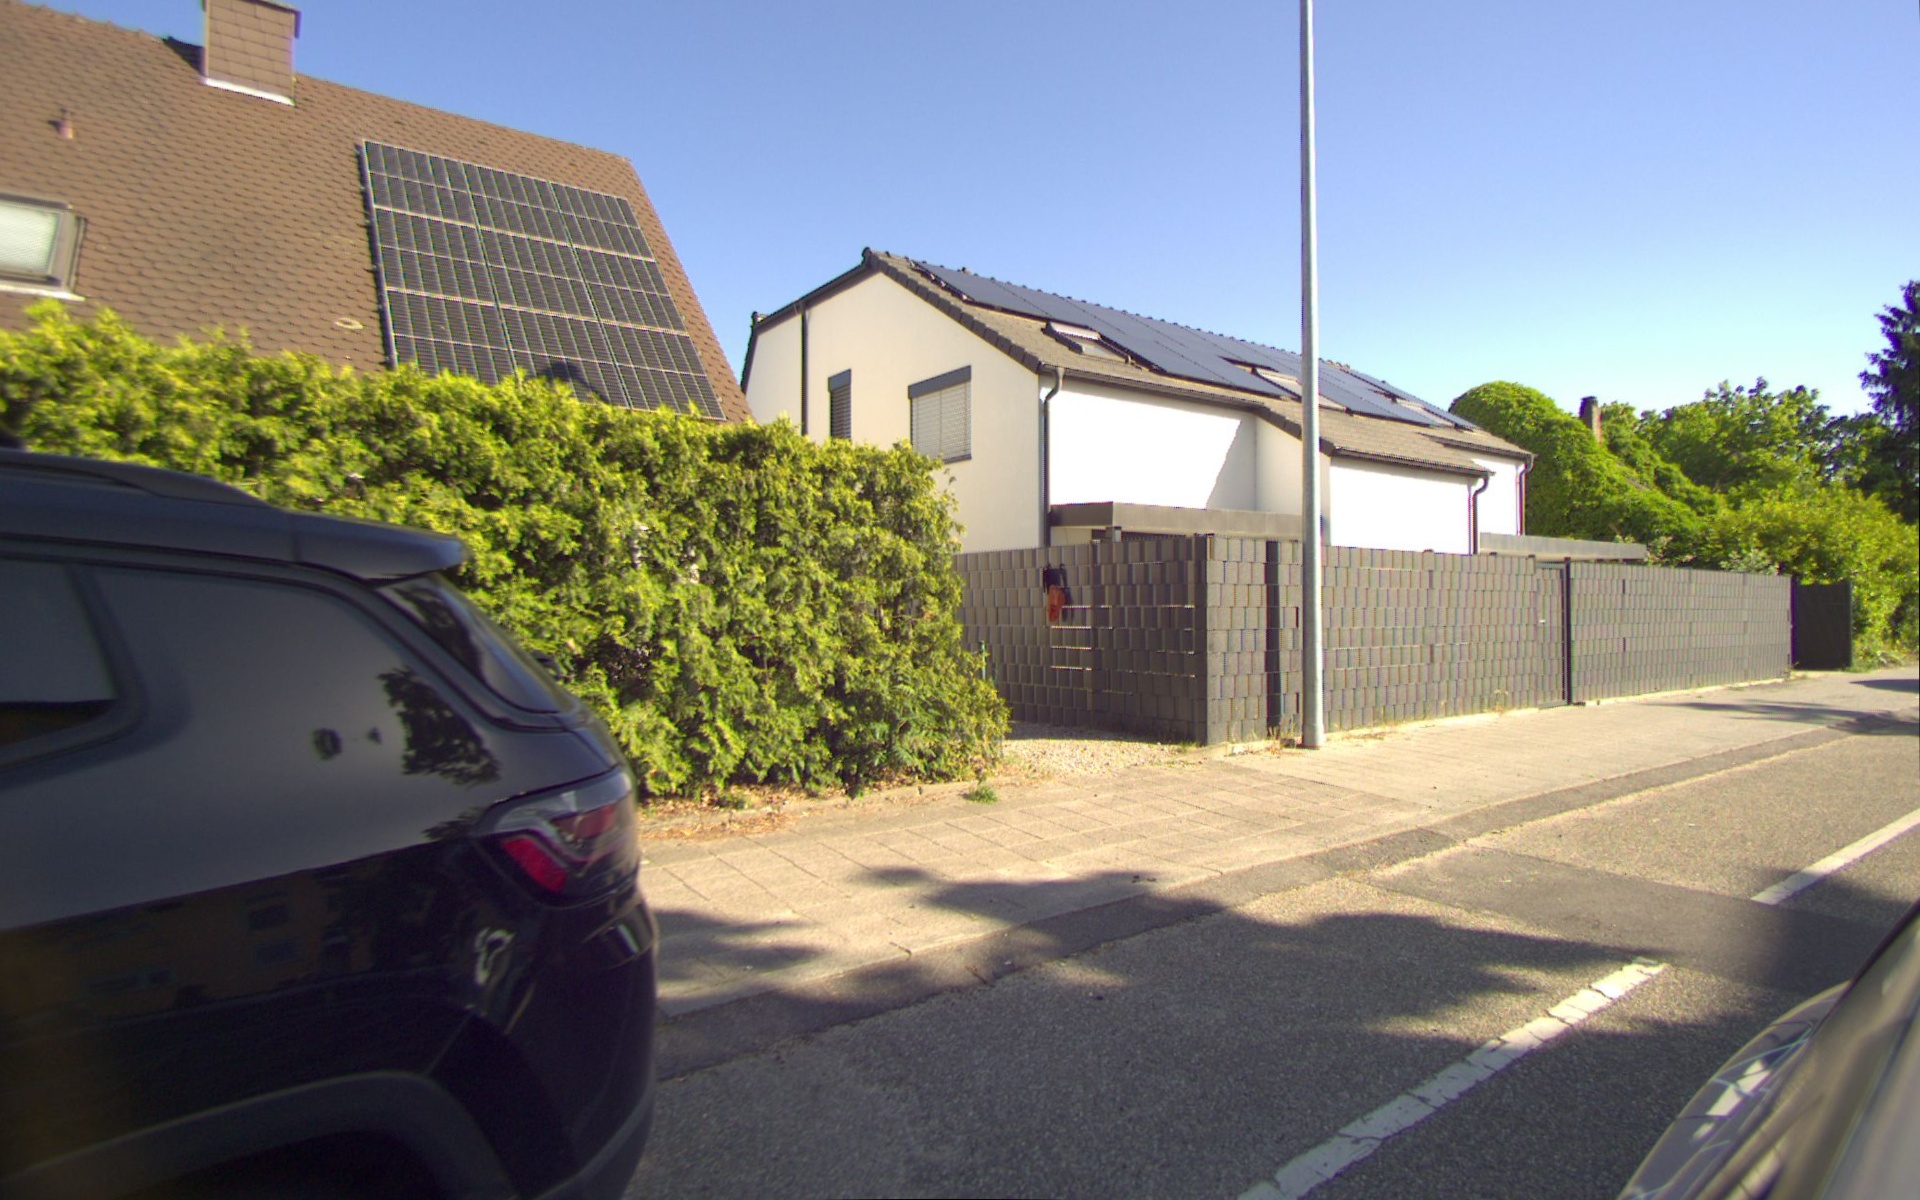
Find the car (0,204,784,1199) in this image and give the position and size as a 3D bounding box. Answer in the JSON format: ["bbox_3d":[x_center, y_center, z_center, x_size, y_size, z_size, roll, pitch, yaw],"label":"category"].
[{"bbox_3d":[-2.460,0.469,0.973,4.219,1.746,1.781,-1,1,-41],"label":"car"}]
